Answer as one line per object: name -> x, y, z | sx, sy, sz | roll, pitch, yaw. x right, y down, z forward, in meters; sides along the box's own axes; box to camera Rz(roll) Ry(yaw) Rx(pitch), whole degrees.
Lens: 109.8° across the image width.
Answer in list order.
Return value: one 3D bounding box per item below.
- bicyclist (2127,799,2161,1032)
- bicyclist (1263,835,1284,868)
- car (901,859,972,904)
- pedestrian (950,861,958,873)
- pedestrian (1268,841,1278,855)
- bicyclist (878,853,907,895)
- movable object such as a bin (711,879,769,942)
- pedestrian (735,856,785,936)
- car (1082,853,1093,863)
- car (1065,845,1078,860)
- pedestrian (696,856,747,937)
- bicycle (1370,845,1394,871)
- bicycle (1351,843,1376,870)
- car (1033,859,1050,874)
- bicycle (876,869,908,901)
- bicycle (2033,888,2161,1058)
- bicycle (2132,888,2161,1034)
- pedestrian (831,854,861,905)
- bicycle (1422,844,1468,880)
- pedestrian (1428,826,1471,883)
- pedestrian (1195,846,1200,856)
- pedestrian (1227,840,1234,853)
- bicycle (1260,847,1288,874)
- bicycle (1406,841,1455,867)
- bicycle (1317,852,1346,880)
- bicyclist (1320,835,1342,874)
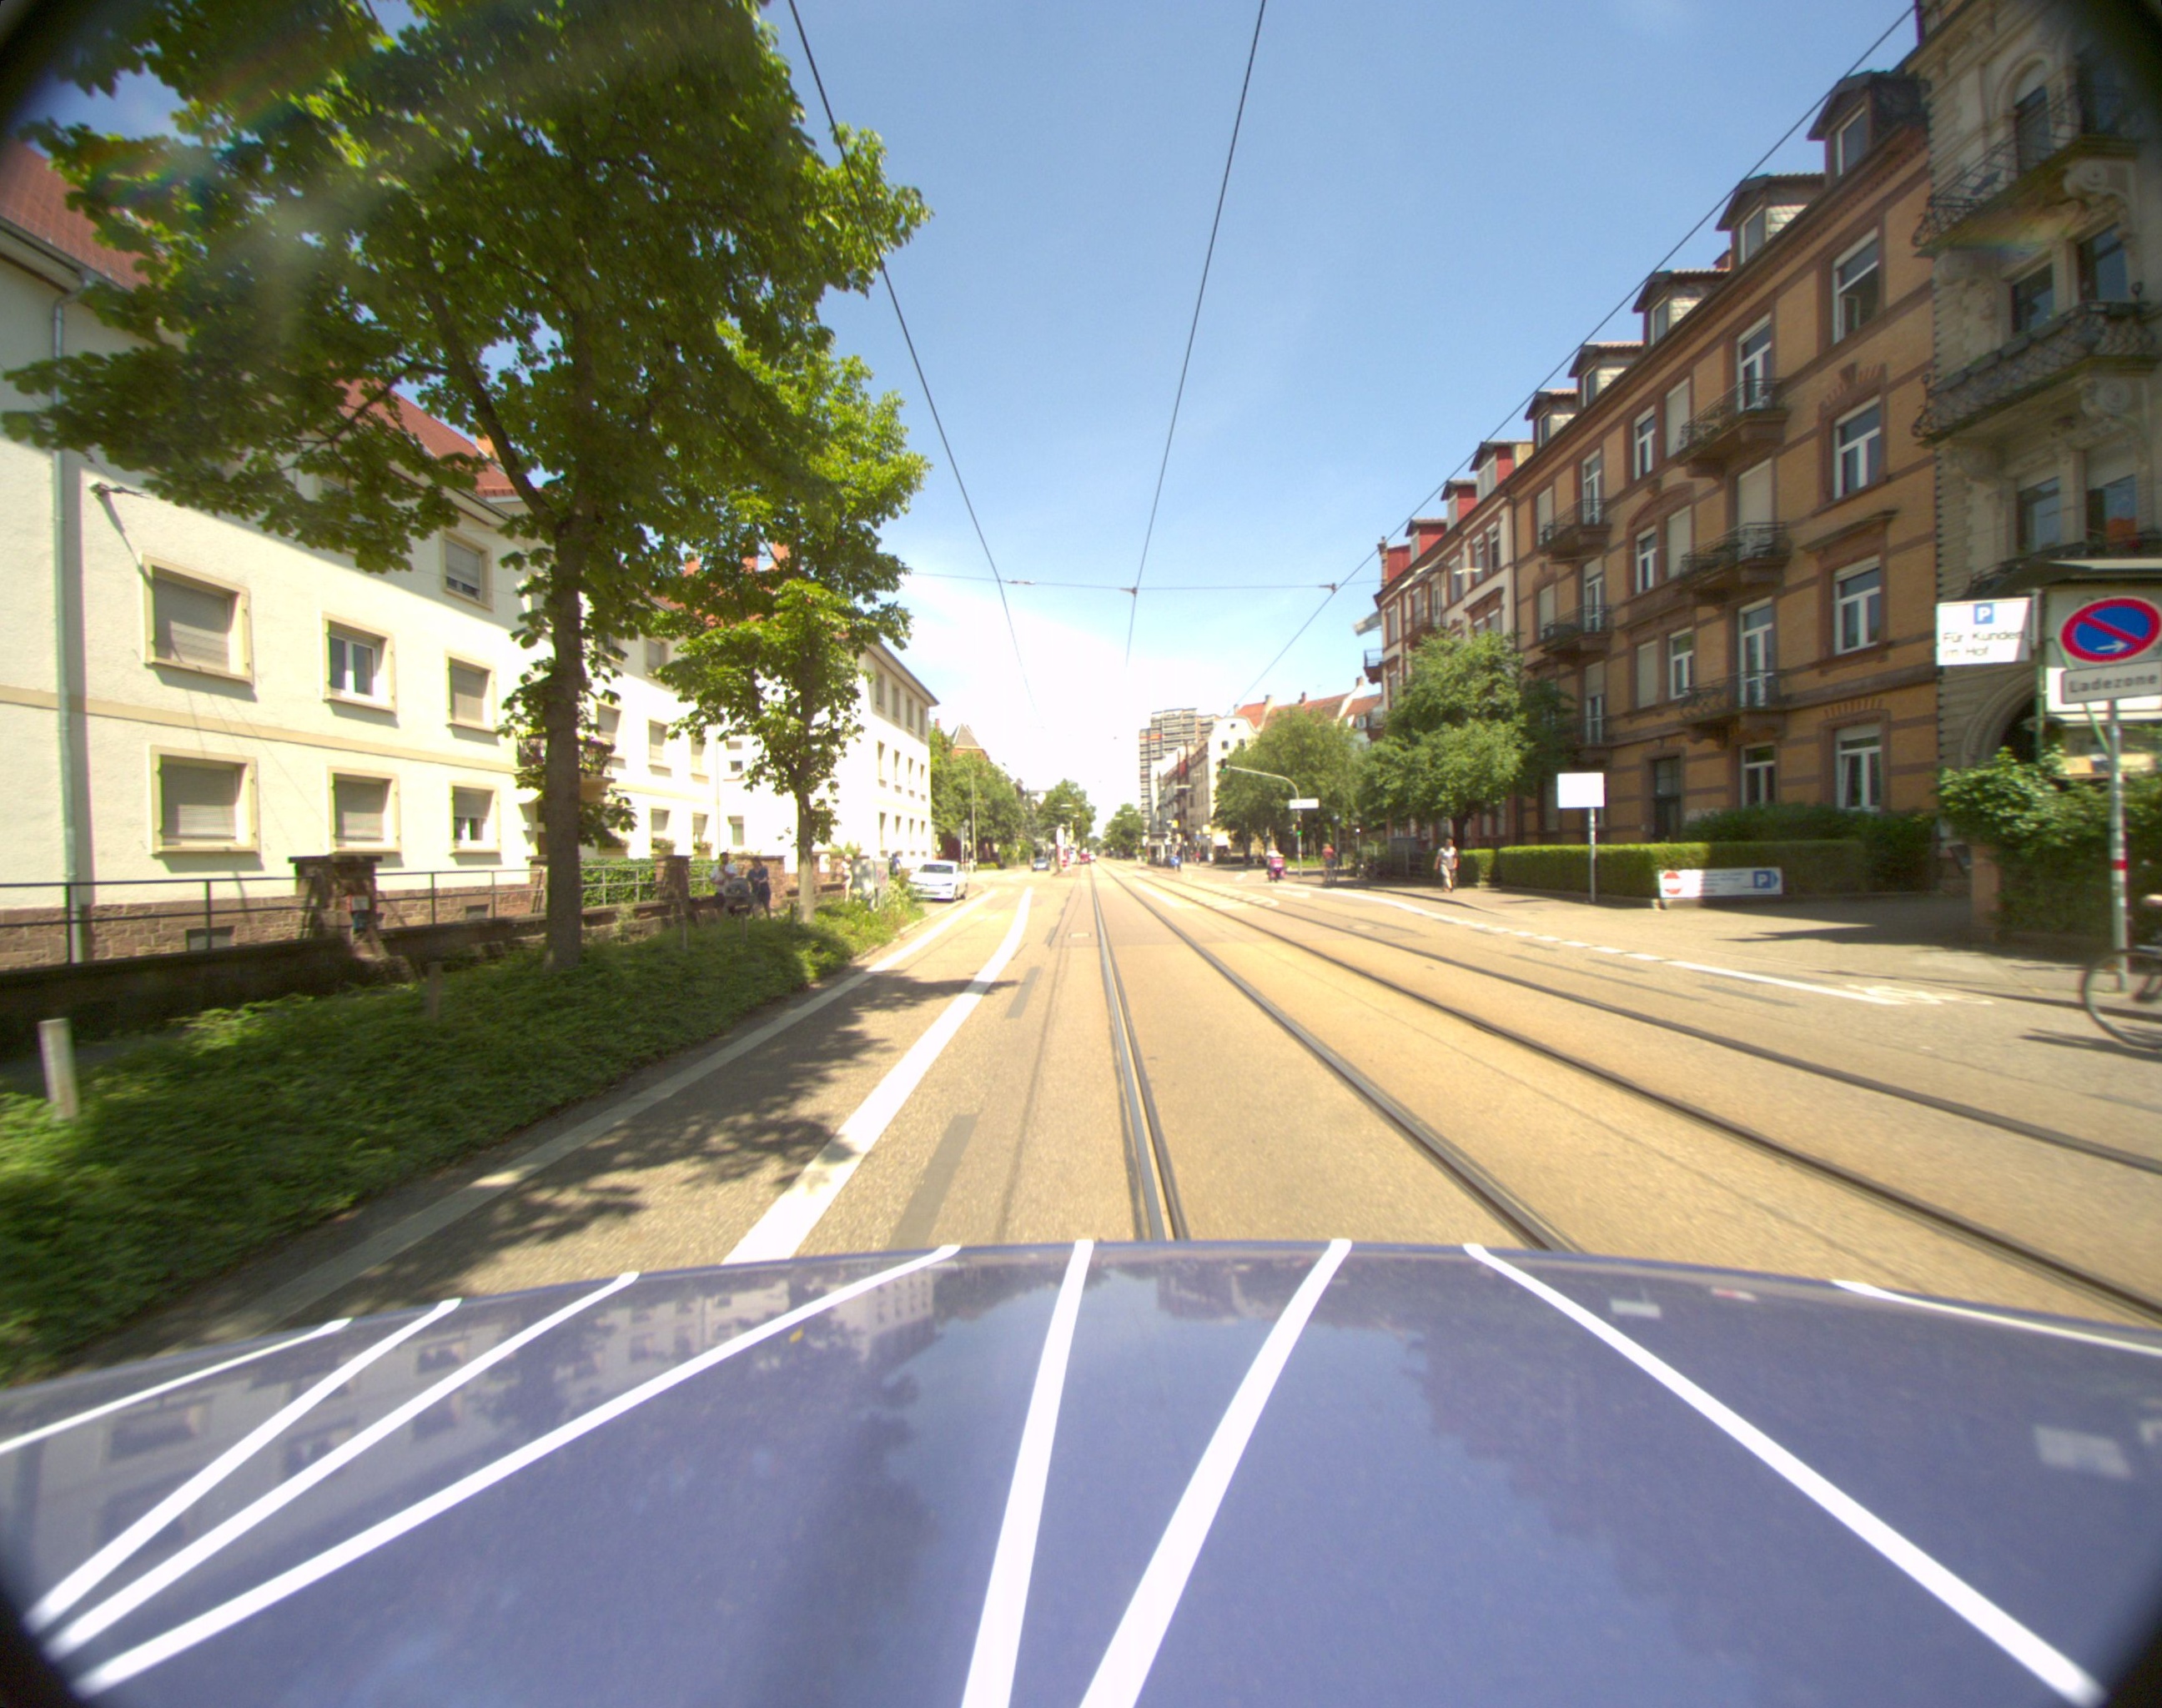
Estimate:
bicyclist -> 7.409, 0.414, 4.662 | 0.594, 1.536, 0.952 | 0, 2, 0
bicyclist -> 9.574, -0.130, 37.784 | 0.809, 1.620, 0.980 | -1, 1, 1
car -> -5.258, 0.962, 28.147 | 1.782, 1.402, 4.156 | 3, 0, -1
pedestrian -> -12.155, 1.256, 72.841 | 0.652, 1.143, 0.642 | -2, 1, -15
pedestrian -> 18.288, -0.547, 72.226 | 0.822, 1.309, 0.652 | -1, 1, 7
bicyclist -> -6.772, 0.703, 27.390 | 0.712, 1.443, 1.010 | -1, 1, 3
movable object such as a bin -> -6.953, 1.136, 15.534 | 0.699, 1.179, 1.036 | 1, 1, 0
pedestrian -> -6.953, 0.895, 16.489 | 0.699, 1.660, 0.869 | 1, 1, 0
car -> 1.138, 0.675, 128.149 | 1.737, 1.543, 4.423 | -1, 0, -1
car -> -1.652, -0.290, 136.366 | 2.237, 2.478, 5.265 | -1, 1, -1
pedestrian -> -7.635, 0.883, 16.153 | 0.699, 1.660, 0.756 | 1, 1, 0
bicycle -> 12.856, 0.161, 32.498 | 0.460, 1.050, 1.565 | -1, 1, 4
bicycle -> 12.858, 0.110, 34.653 | 0.574, 1.162, 1.716 | -1, 1, 4
car -> -4.271, 1.372, 82.947 | 1.737, 1.543, 4.423 | -1, 0, -1
bicycle -> -6.763, 1.105, 27.273 | 0.603, 1.045, 1.823 | -1, 0, 3
bicycle -> 7.410, 0.820, 4.717 | 0.583, 1.072, 1.890 | 0, 2, 0
bicycle -> 8.320, 0.818, 4.834 | 0.630, 1.072, 1.874 | 0, 2, 0
pedestrian -> -7.799, 0.832, 25.250 | 0.699, 1.660, 0.756 | -1, 1, -1
bicycle -> 11.908, 0.241, 24.908 | 0.639, 1.087, 1.931 | -3, 0, 4
pedestrian -> 11.227, 0.017, 23.205 | 0.874, 1.690, 1.013 | -1, 1, 7
pedestrian -> 16.012, -0.420, 104.222 | 0.537, 1.433, 0.520 | -1, 1, -9
pedestrian -> 16.557, -0.799, 84.243 | 0.537, 1.433, 0.520 | -1, 1, -9
bicycle -> 9.577, 0.308, 37.801 | 0.809, 1.264, 2.550 | -1, 0, 1
bicycle -> 13.638, -0.005, 29.666 | 1.650, 0.990, 0.495 | -1, 1, 2
bicycle -> 9.807, 0.456, 29.767 | 0.569, 1.032, 1.829 | -1, 0, 1
bicyclist -> 9.793, 0.020, 29.787 | 0.564, 1.507, 0.892 | -1, 1, 1
